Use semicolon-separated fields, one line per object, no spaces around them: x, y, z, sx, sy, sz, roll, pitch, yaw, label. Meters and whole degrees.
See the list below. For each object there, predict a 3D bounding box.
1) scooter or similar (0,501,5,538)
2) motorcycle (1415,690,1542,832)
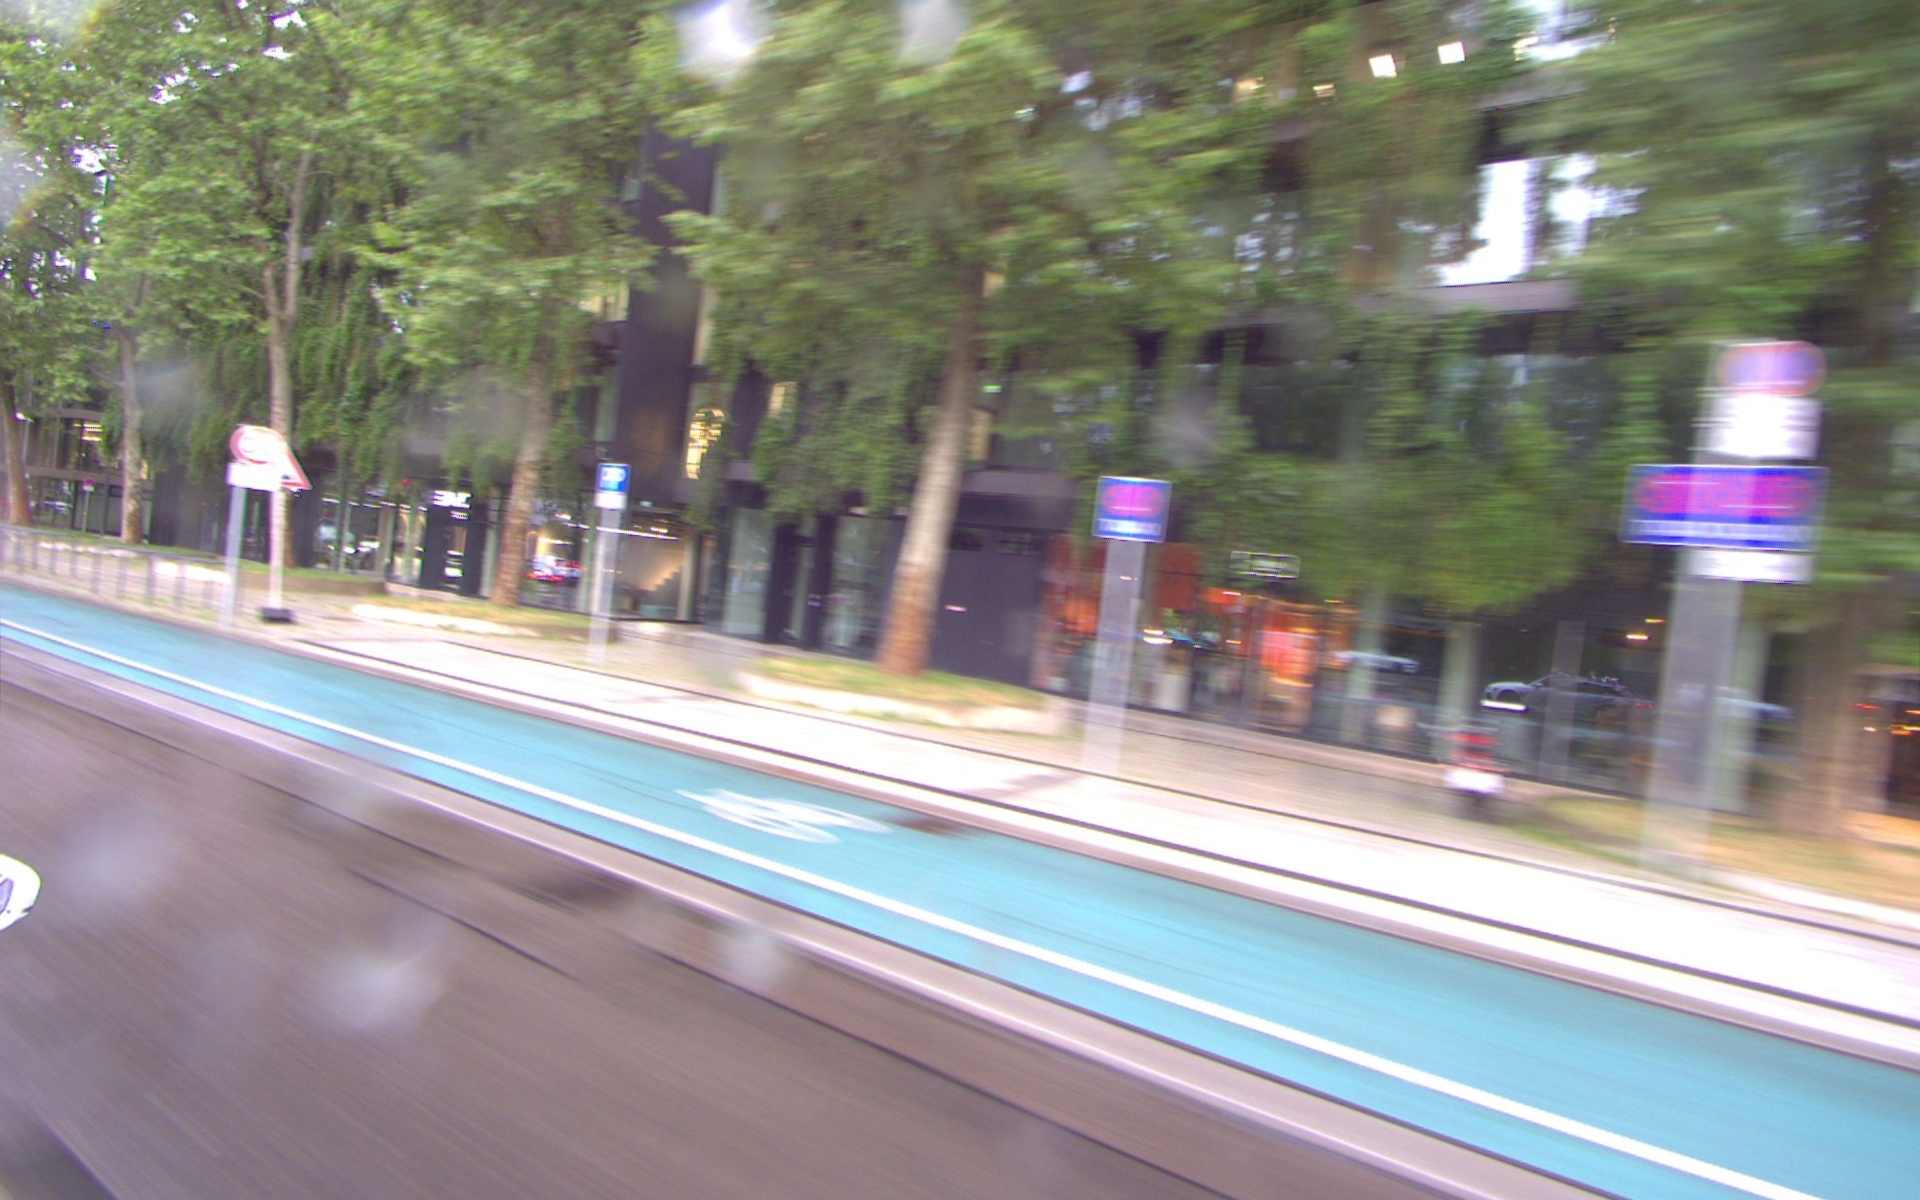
-33.267;-2.797;34.435;0.377;1.243;1.074;7;0;-22;scooter or similar
5.939;1.764;11.428;1.035;1.285;2.312;7;-2;31;motorcycle
